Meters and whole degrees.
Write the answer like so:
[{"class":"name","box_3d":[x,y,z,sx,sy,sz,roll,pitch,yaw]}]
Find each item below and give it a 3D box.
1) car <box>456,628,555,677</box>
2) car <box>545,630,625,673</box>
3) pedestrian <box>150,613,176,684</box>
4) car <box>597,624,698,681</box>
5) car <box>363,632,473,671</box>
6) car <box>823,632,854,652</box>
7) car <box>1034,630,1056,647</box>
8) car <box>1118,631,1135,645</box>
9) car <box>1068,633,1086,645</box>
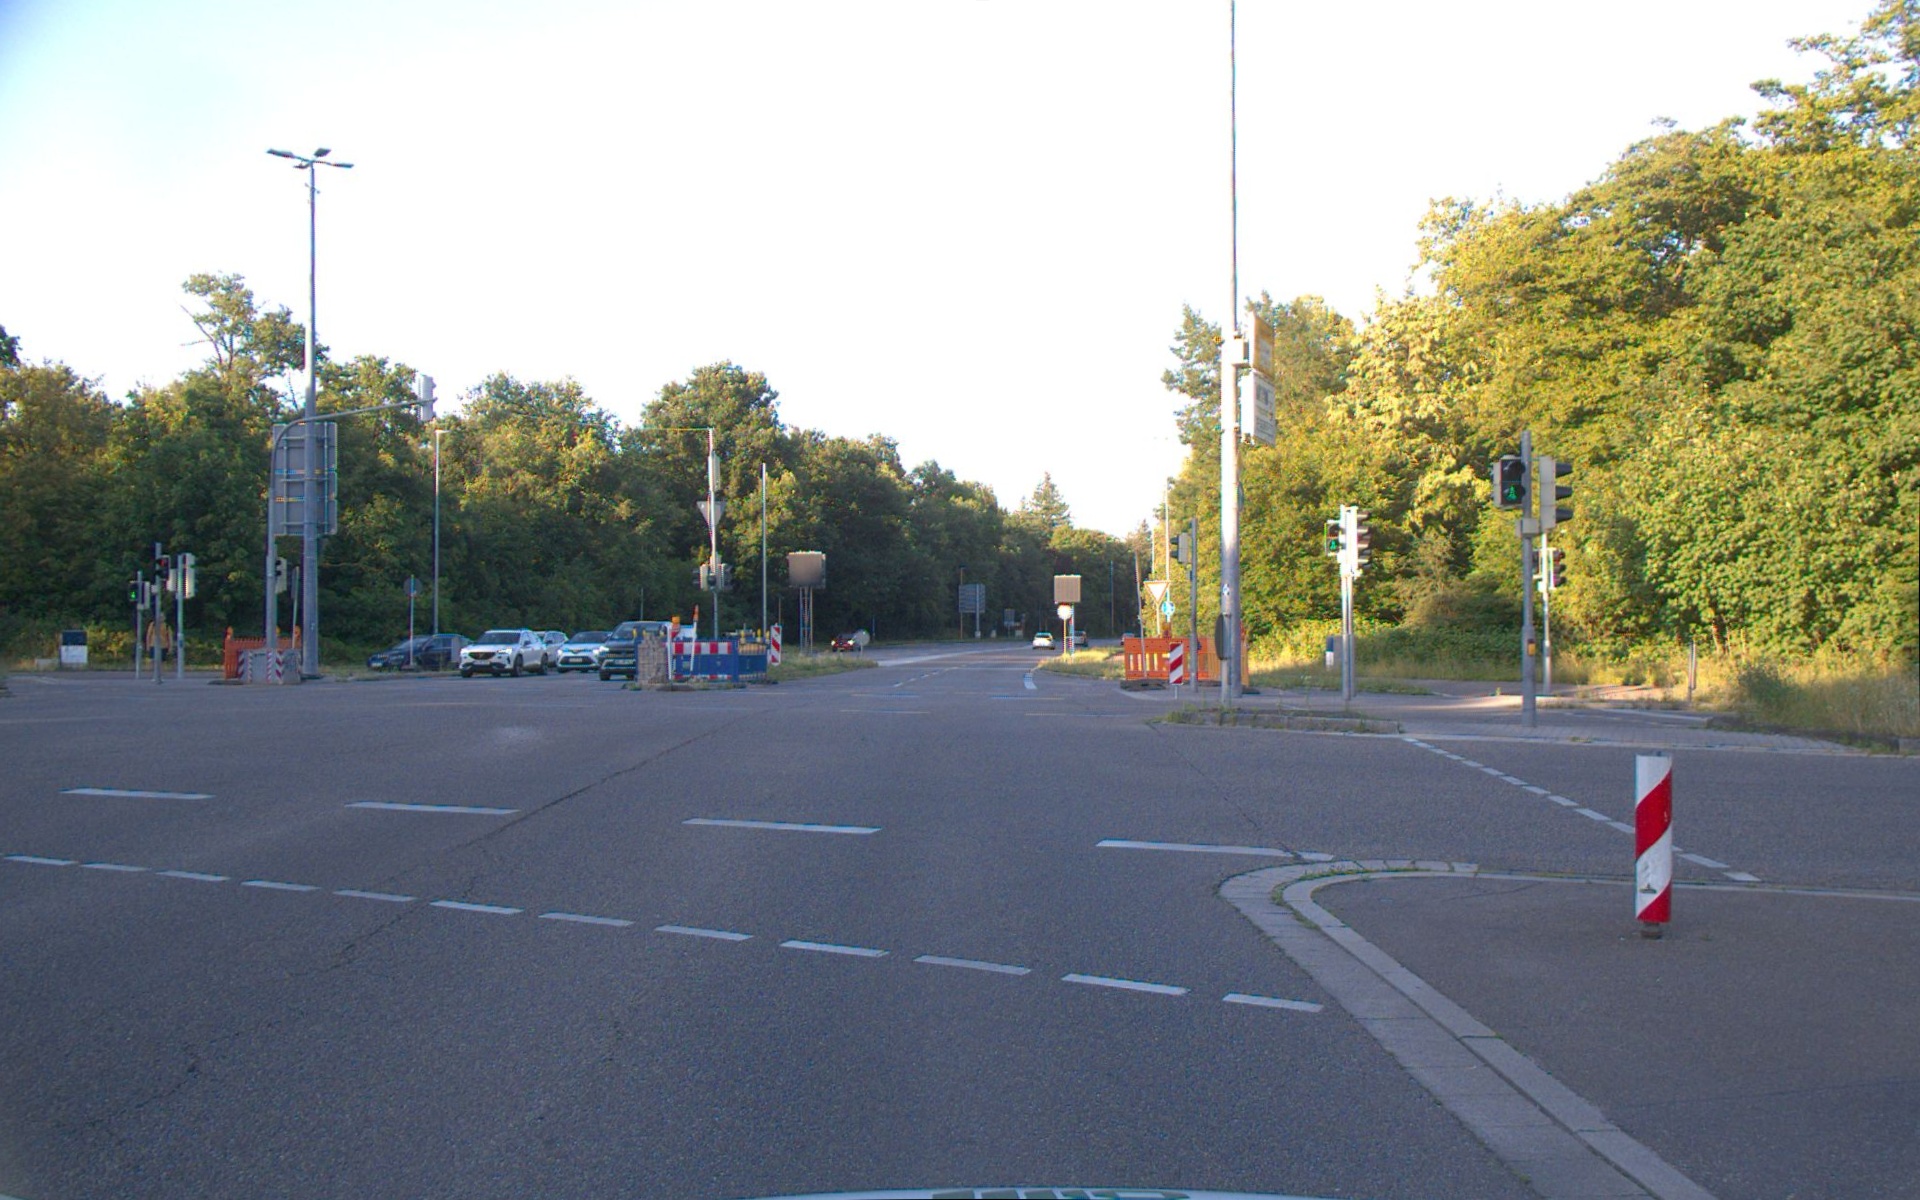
[{"class":"car","box_3d":[-14.424,1.643,52.665,1.680,1.481,4.235,0,-1,5]},{"class":"car","box_3d":[-13.757,1.870,60.840,1.680,1.481,4.235,0,-1,4]},{"class":"pedestrian","box_3d":[-20.706,1.254,42.962,0.567,1.832,0.743,0,-1,-28]},{"class":"car","box_3d":[-8.585,1.418,45.796,1.680,1.481,4.235,0,-1,5]},{"class":"car","box_3d":[-18.915,1.790,57.805,1.570,1.266,3.644,-1,-1,26]},{"class":"car","box_3d":[-9.540,3.296,130.244,1.838,1.447,4.235,0,-1,4]},{"class":"car","box_3d":[7.475,3.375,145.362,1.514,1.371,3.117,-1,-1,11]},{"class":"car","box_3d":[20.064,4.569,199.219,1.544,1.561,3.680,0,-1,15]},{"class":"car","box_3d":[12.328,4.123,174.394,1.424,1.266,2.966,-1,-1,14]}]
